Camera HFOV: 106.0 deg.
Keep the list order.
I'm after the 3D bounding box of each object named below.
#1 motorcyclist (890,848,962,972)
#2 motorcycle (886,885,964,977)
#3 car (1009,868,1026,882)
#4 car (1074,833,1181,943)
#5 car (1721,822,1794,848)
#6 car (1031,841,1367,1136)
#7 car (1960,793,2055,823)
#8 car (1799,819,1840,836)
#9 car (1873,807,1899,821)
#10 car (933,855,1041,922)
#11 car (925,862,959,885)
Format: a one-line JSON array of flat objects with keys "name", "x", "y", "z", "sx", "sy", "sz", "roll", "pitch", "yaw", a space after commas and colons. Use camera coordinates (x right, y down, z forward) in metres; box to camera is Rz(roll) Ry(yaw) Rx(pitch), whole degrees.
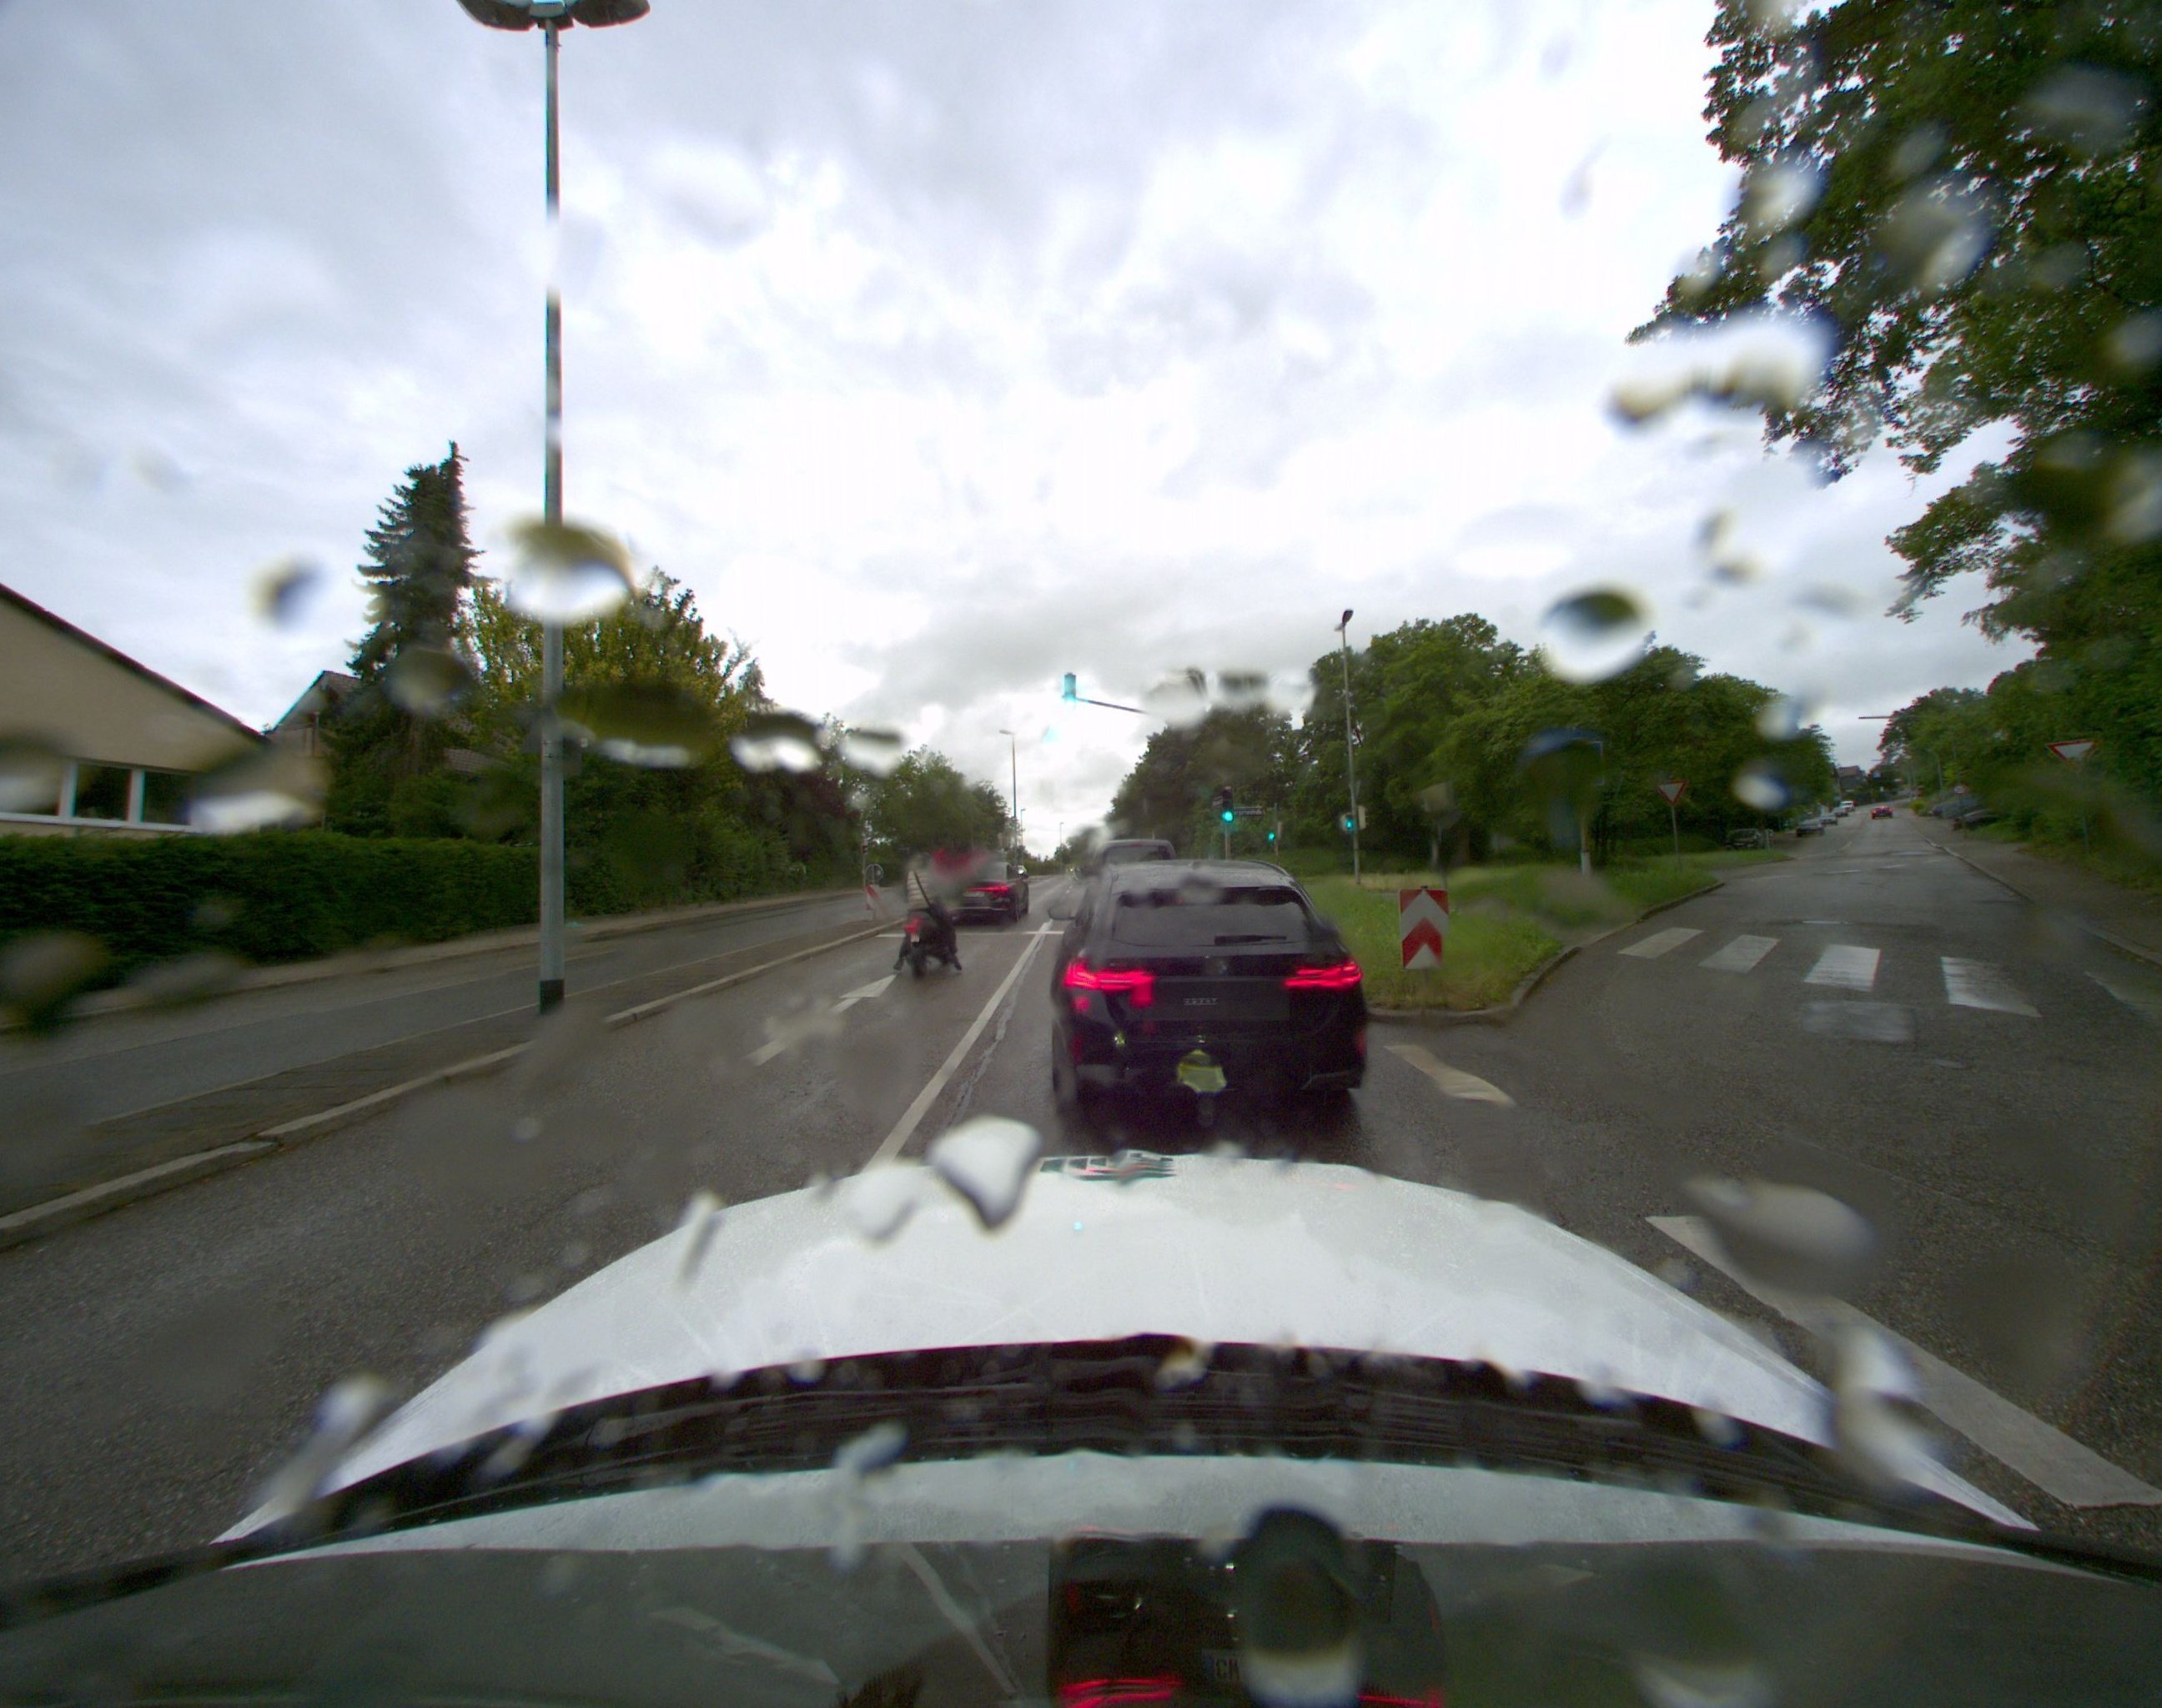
[{"name": "motorcyclist", "x": -2.120, "y": 0.752, "z": 11.167, "sx": 0.842, "sy": 1.647, "sz": 0.468, "roll": -1, "pitch": 0, "yaw": 1}, {"name": "motorcycle", "x": -2.116, "y": 1.014, "z": 11.199, "sx": 0.738, "sy": 1.119, "sz": 1.427, "roll": -1, "pitch": 0, "yaw": 2}, {"name": "car", "x": -8.118, "y": 2.669, "z": 104.292, "sx": 1.721, "sy": 1.485, "sz": 4.157, "roll": -4, "pitch": 0, "yaw": 1}, {"name": "car", "x": 0.838, "y": 0.561, "z": 15.532, "sx": 1.760, "sy": 1.810, "sz": 3.907, "roll": -1, "pitch": 0, "yaw": 2}, {"name": "car", "x": 46.001, "y": -1.272, "z": 55.396, "sx": 3.994, "sy": 1.571, "sz": 1.819, "roll": -2, "pitch": 0, "yaw": -15}, {"name": "car", "x": 0.682, "y": 0.736, "z": 6.163, "sx": 1.758, "sy": 1.536, "sz": 3.674, "roll": -1, "pitch": -1, "yaw": 2}, {"name": "car", "x": 61.082, "y": -2.993, "z": 53.801, "sx": 1.969, "sy": 1.648, "sz": 3.950, "roll": -2, "pitch": 0, "yaw": -45}, {"name": "car", "x": 66.410, "y": -2.367, "z": 73.207, "sx": 4.014, "sy": 1.446, "sz": 1.686, "roll": 0, "pitch": -1, "yaw": -32}, {"name": "car", "x": 98.496, "y": -4.851, "z": 99.668, "sx": 1.921, "sy": 1.458, "sz": 4.242, "roll": -1, "pitch": -1, "yaw": 41}, {"name": "car", "x": -2.182, "y": 0.758, "z": 20.215, "sx": 2.007, "sy": 1.415, "sz": 4.488, "roll": -1, "pitch": 0, "yaw": 2}, {"name": "car", "x": -9.905, "y": 1.375, "z": 58.287, "sx": 1.858, "sy": 1.492, "sz": 3.830, "roll": -3, "pitch": 0, "yaw": -2}]
